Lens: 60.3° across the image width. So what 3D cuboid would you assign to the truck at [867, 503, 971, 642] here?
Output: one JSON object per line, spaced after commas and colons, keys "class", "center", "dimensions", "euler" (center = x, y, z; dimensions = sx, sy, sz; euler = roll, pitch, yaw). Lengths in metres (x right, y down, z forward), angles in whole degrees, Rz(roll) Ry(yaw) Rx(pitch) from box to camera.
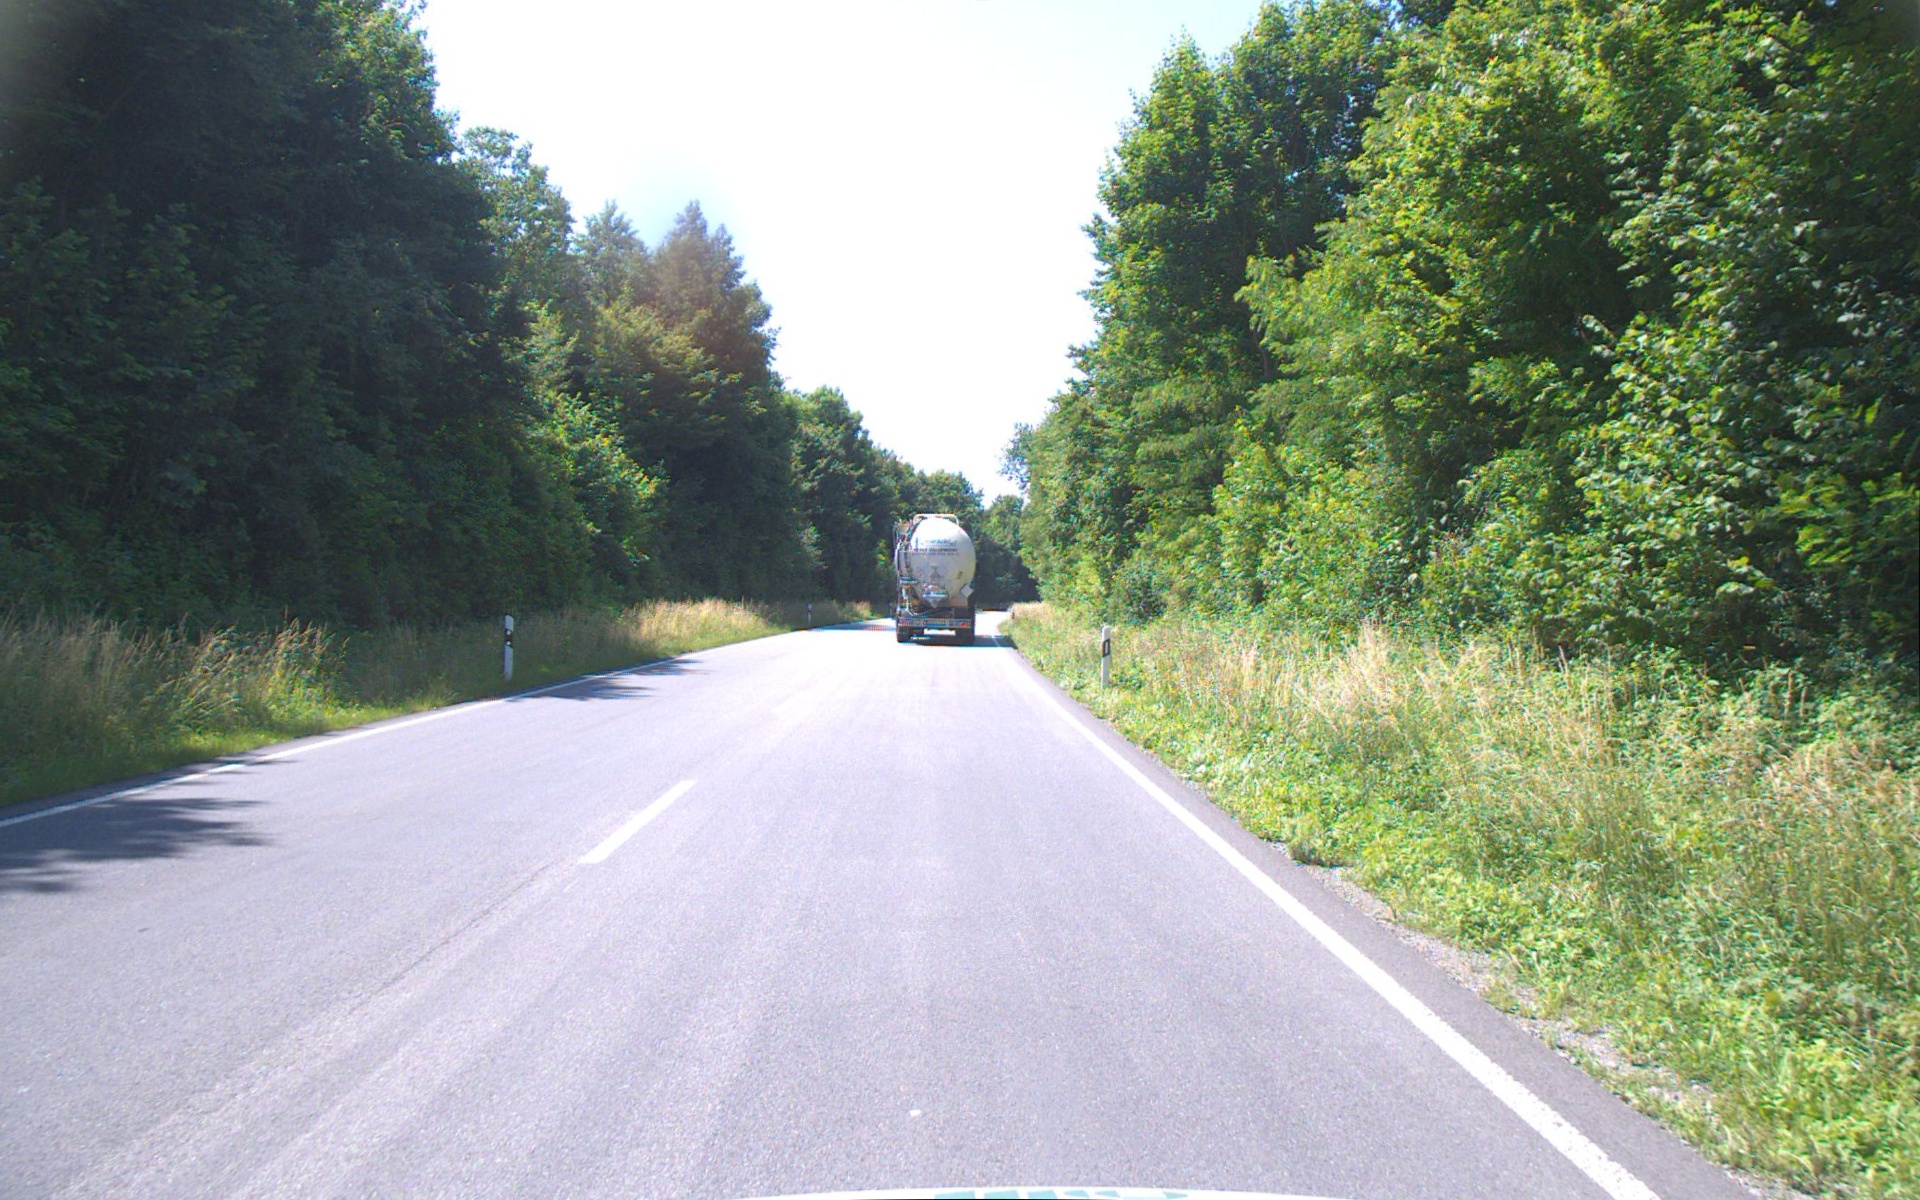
{"class": "truck", "center": [-1.191, -0.817, 57.238], "dimensions": [2.987, 4.068, 15.636], "euler": [2, 0, 0]}
